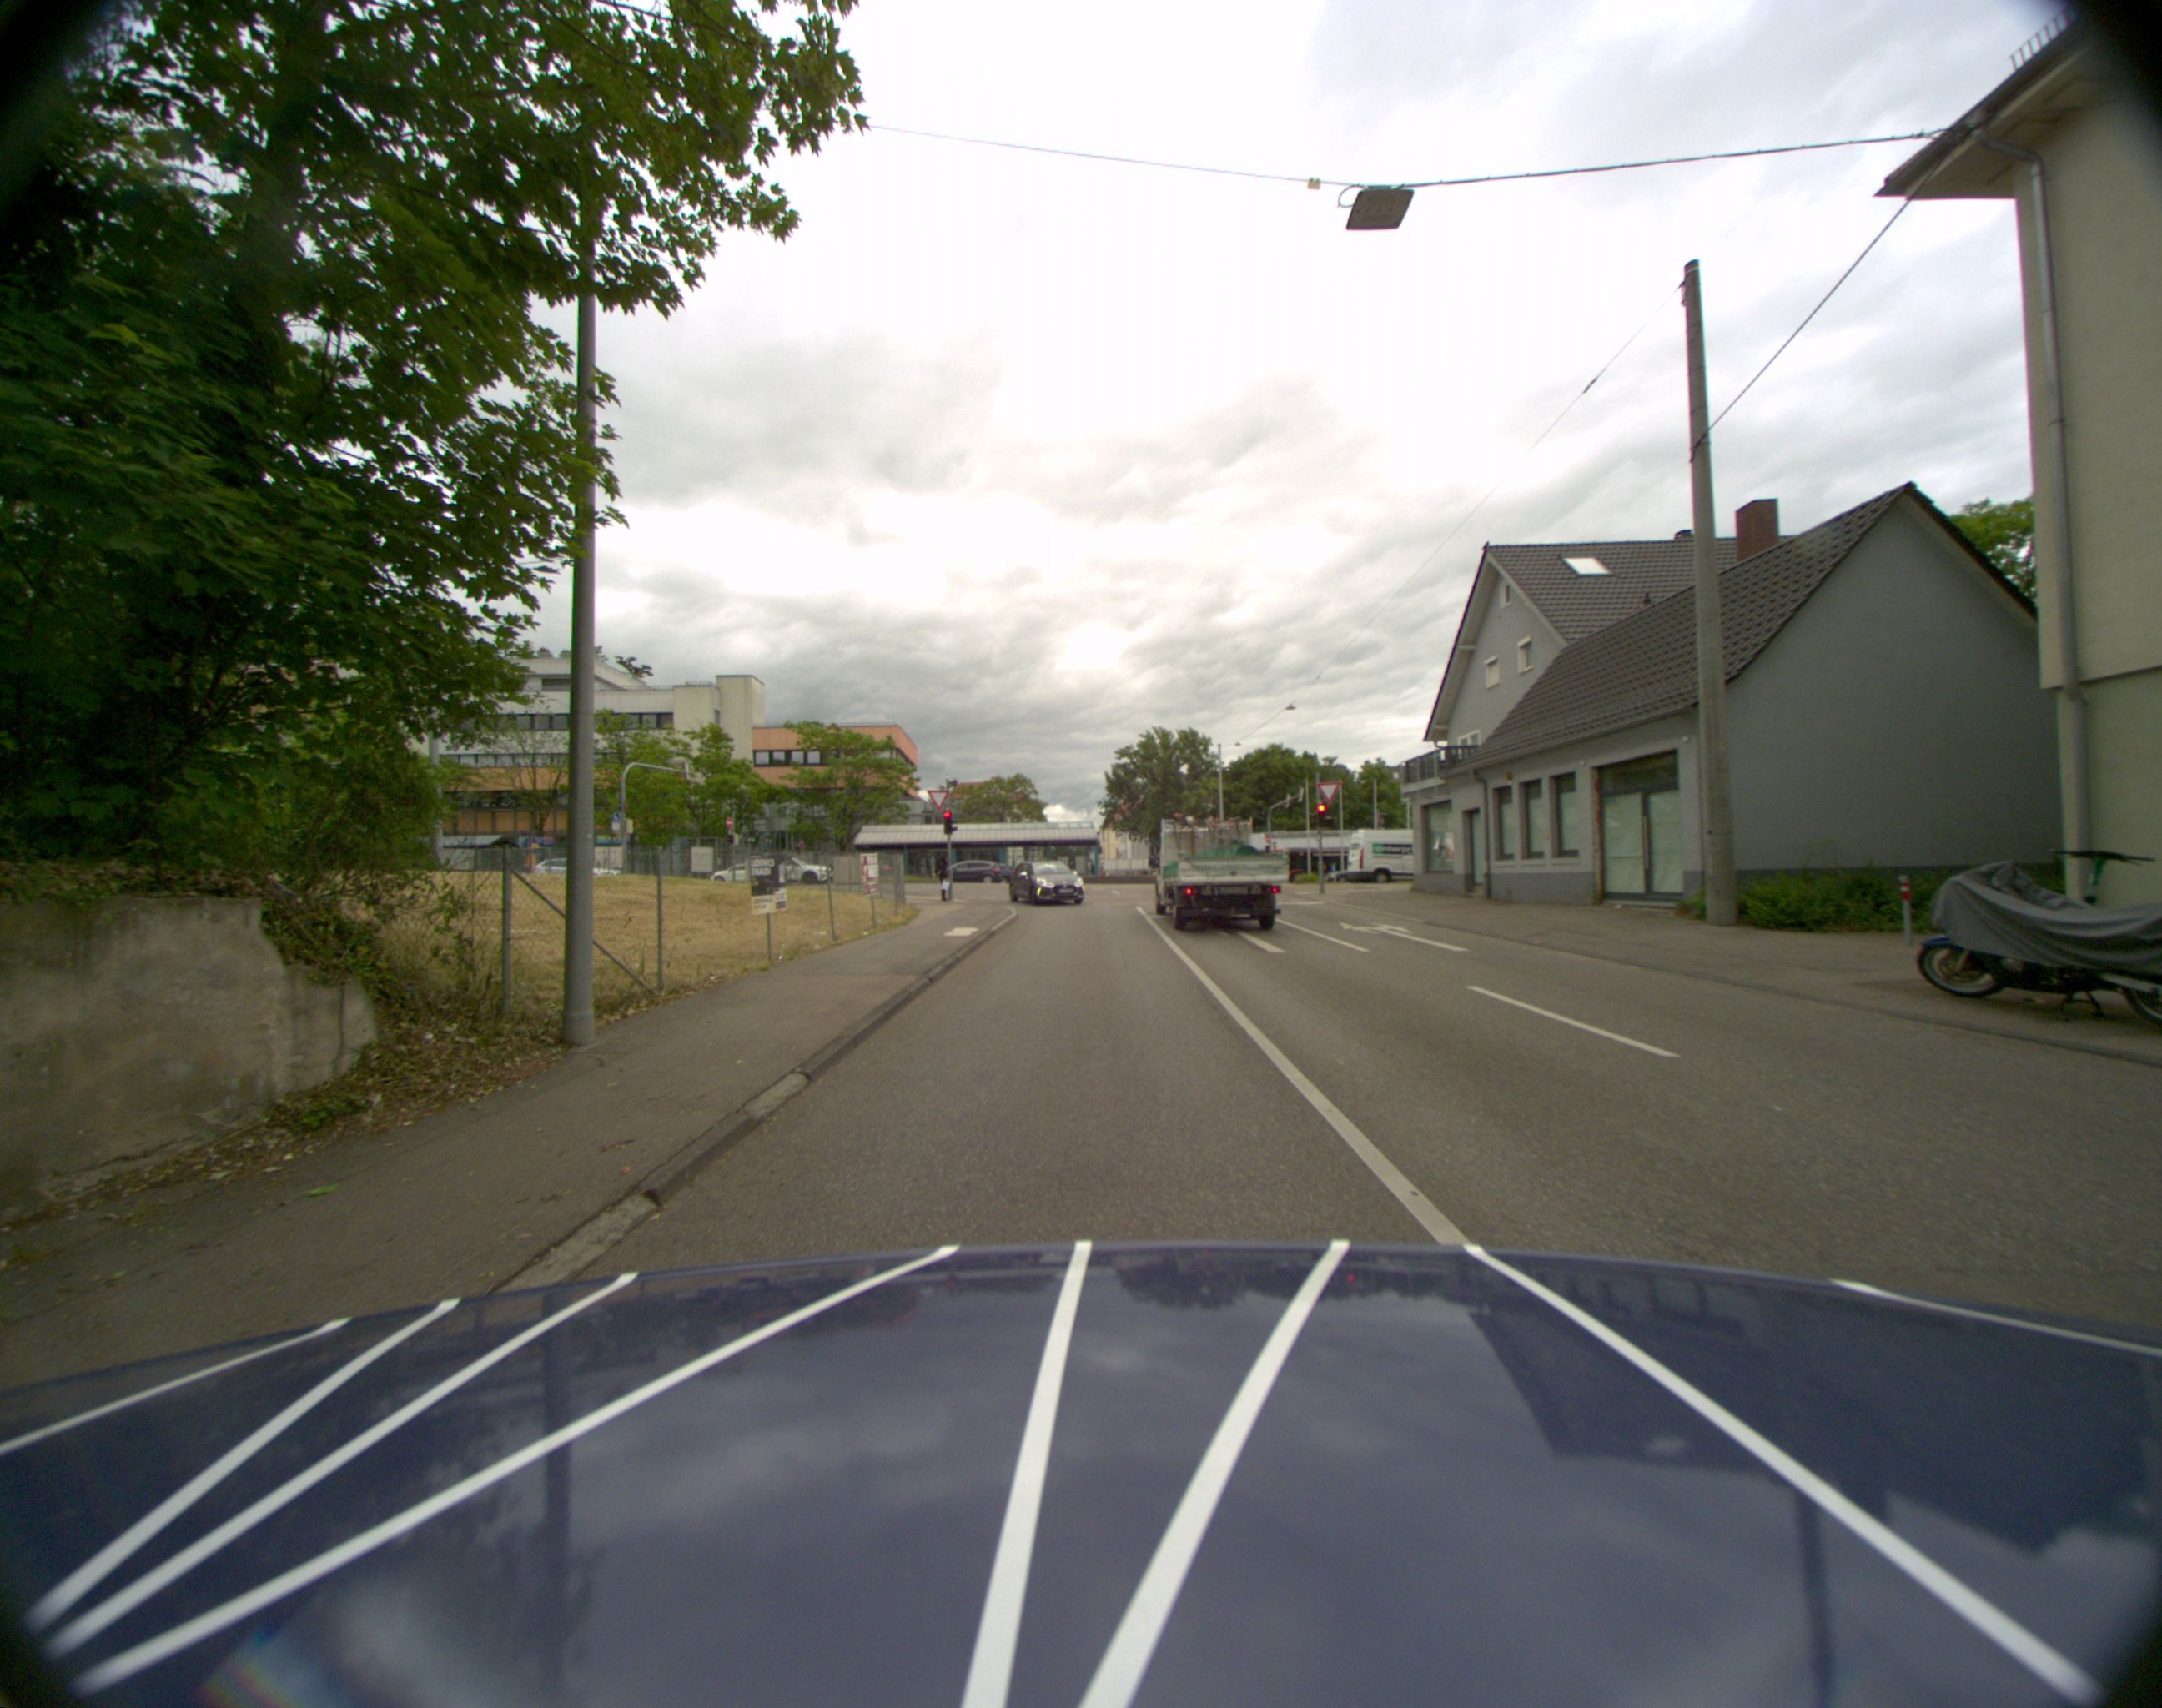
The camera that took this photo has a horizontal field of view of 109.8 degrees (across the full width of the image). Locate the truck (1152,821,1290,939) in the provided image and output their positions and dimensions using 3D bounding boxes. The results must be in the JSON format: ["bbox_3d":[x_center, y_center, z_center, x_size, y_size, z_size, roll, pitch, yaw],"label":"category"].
[{"bbox_3d":[2.940,0.498,17.592,2.126,2.188,6.590,-1,0,1],"label":"truck"}]

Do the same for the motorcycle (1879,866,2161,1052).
[{"bbox_3d":[8.063,0.769,6.230,0.627,1.283,2.230,-3,0,-1],"label":"motorcycle"}]

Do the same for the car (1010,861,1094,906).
[{"bbox_3d":[-1.068,0.955,25.871,1.649,1.390,3.774,0,0,-23],"label":"car"}]

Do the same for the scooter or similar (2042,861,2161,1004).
[{"bbox_3d":[9.968,0.723,7.388,0.356,1.258,0.987,-2,1,25],"label":"scooter or similar"}]

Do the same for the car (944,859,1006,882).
[{"bbox_3d":[-7.118,1.106,51.244,3.999,1.488,1.628,-1,0,-5],"label":"car"}]

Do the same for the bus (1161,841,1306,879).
[{"bbox_3d":[12.776,0.562,64.272,11.845,3.044,2.001,-1,-2,4],"label":"bus"}]

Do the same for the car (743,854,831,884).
[{"bbox_3d":[-15.763,0.793,40.918,3.998,1.503,1.999,0,0,-4],"label":"car"}]

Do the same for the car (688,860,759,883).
[{"bbox_3d":[-23.987,1.159,51.044,3.933,1.372,1.631,2,0,0],"label":"car"}]

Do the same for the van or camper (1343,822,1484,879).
[{"bbox_3d":[16.316,-0.178,37.538,5.932,2.657,2.258,-1,1,3],"label":"van or camper"}]

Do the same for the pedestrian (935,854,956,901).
[{"bbox_3d":[-4.654,0.810,26.124,0.553,1.581,0.672,2,1,-1],"label":"pedestrian"}]

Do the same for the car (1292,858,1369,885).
[{"bbox_3d":[15.985,1.089,48.871,4.282,1.630,2.000,-1,0,-2],"label":"car"}]
